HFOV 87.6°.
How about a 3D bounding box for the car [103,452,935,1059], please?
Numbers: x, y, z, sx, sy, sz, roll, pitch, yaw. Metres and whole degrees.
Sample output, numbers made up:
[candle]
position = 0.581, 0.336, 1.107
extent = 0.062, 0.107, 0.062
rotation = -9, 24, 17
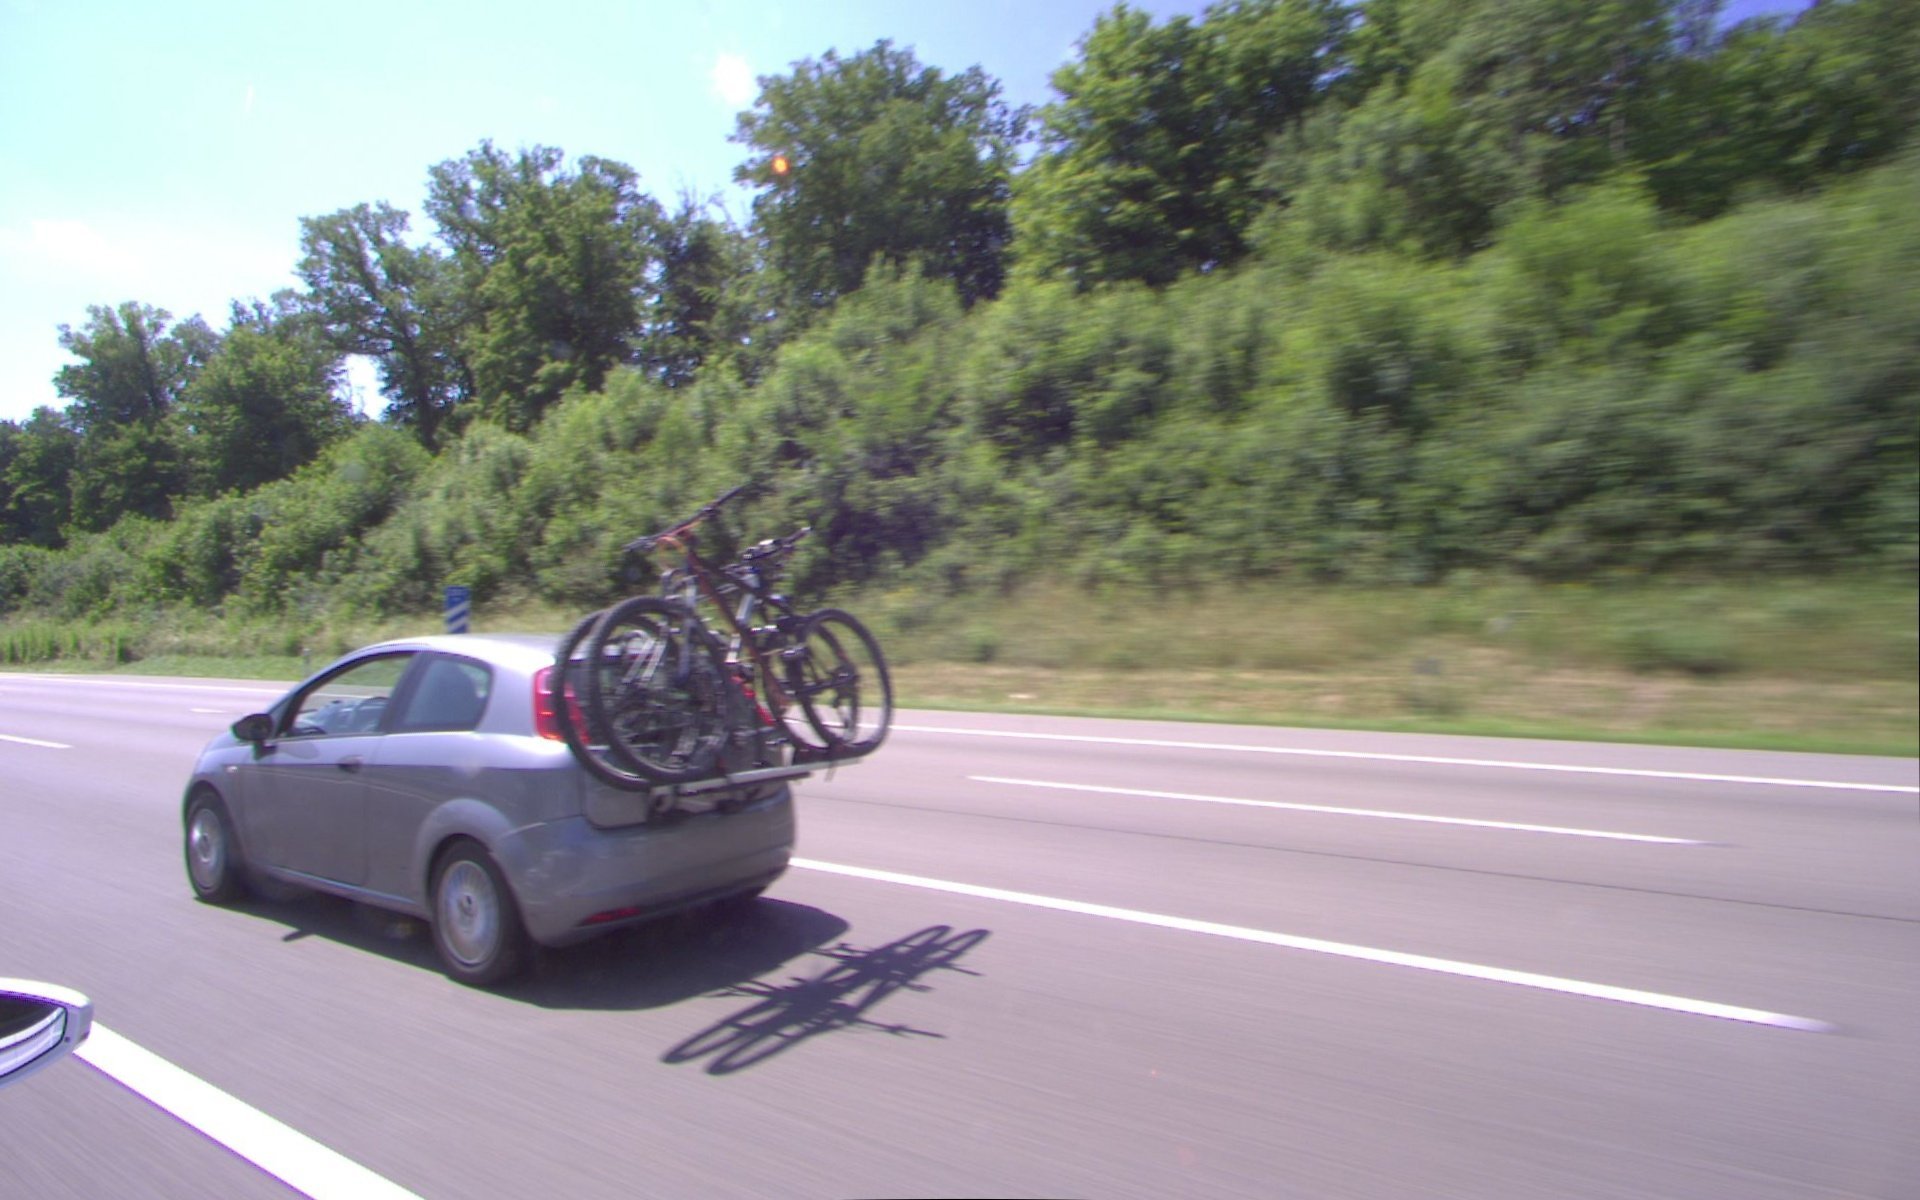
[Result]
[car]
position = -2.628, 0.583, 5.544
extent = 4.716, 2.080, 1.957
rotation = -1, -1, 33
